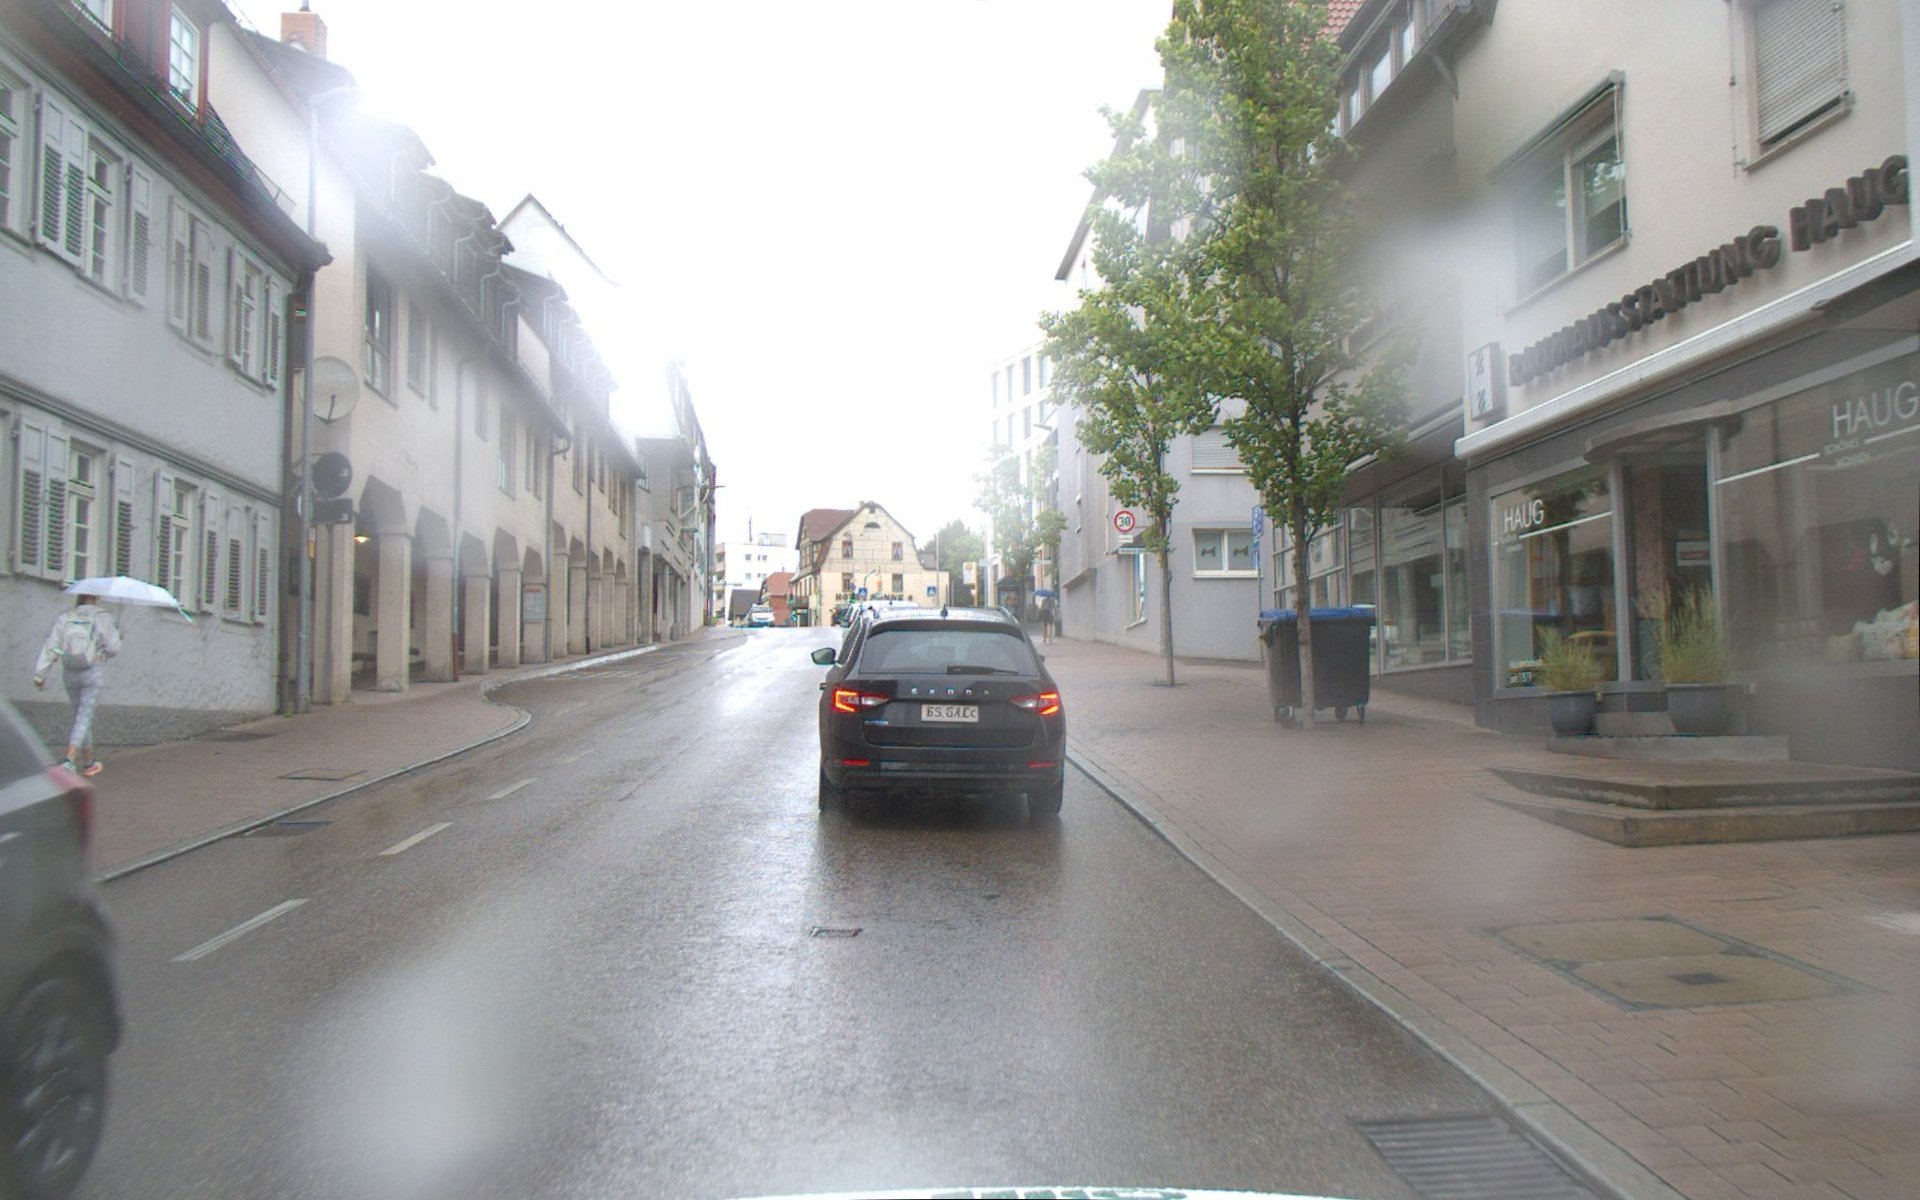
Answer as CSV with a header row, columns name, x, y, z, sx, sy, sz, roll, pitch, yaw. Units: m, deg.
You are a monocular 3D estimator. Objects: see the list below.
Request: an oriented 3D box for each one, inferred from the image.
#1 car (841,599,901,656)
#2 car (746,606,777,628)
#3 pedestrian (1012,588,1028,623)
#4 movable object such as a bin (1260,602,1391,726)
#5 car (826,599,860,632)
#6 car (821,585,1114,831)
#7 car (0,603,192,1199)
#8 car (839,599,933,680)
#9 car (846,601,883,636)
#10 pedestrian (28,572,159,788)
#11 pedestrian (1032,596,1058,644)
name,x,y,z,sx,sy,sz,roll,pitch,yaw
car,-2.665,0.795,48.878,1.648,1.587,3.996,-1,0,-4
car,-13.984,1.167,116.784,1.642,1.536,3.589,0,0,2
pedestrian,3.408,0.319,94.547,0.767,1.974,1.020,-2,-1,-4
movable object such as a bin,4.231,0.721,19.246,1.210,1.358,1.172,-2,0,-2
car,-7.486,0.983,106.125,1.953,2.049,3.998,-1,0,-2
car,0.046,0.712,12.983,1.905,1.594,4.417,0,0,0
car,-2.937,0.791,2.862,1.576,1.498,3.585,-2,0,-2
car,-1.547,0.766,33.456,1.645,1.536,3.583,0,0,-7
car,-4.574,0.886,78.774,1.648,1.587,3.996,-1,0,-4
pedestrian,-7.357,0.662,14.072,0.674,1.770,0.735,2,-1,-1
pedestrian,2.896,0.674,56.462,0.721,1.569,1.038,-3,-1,-1
